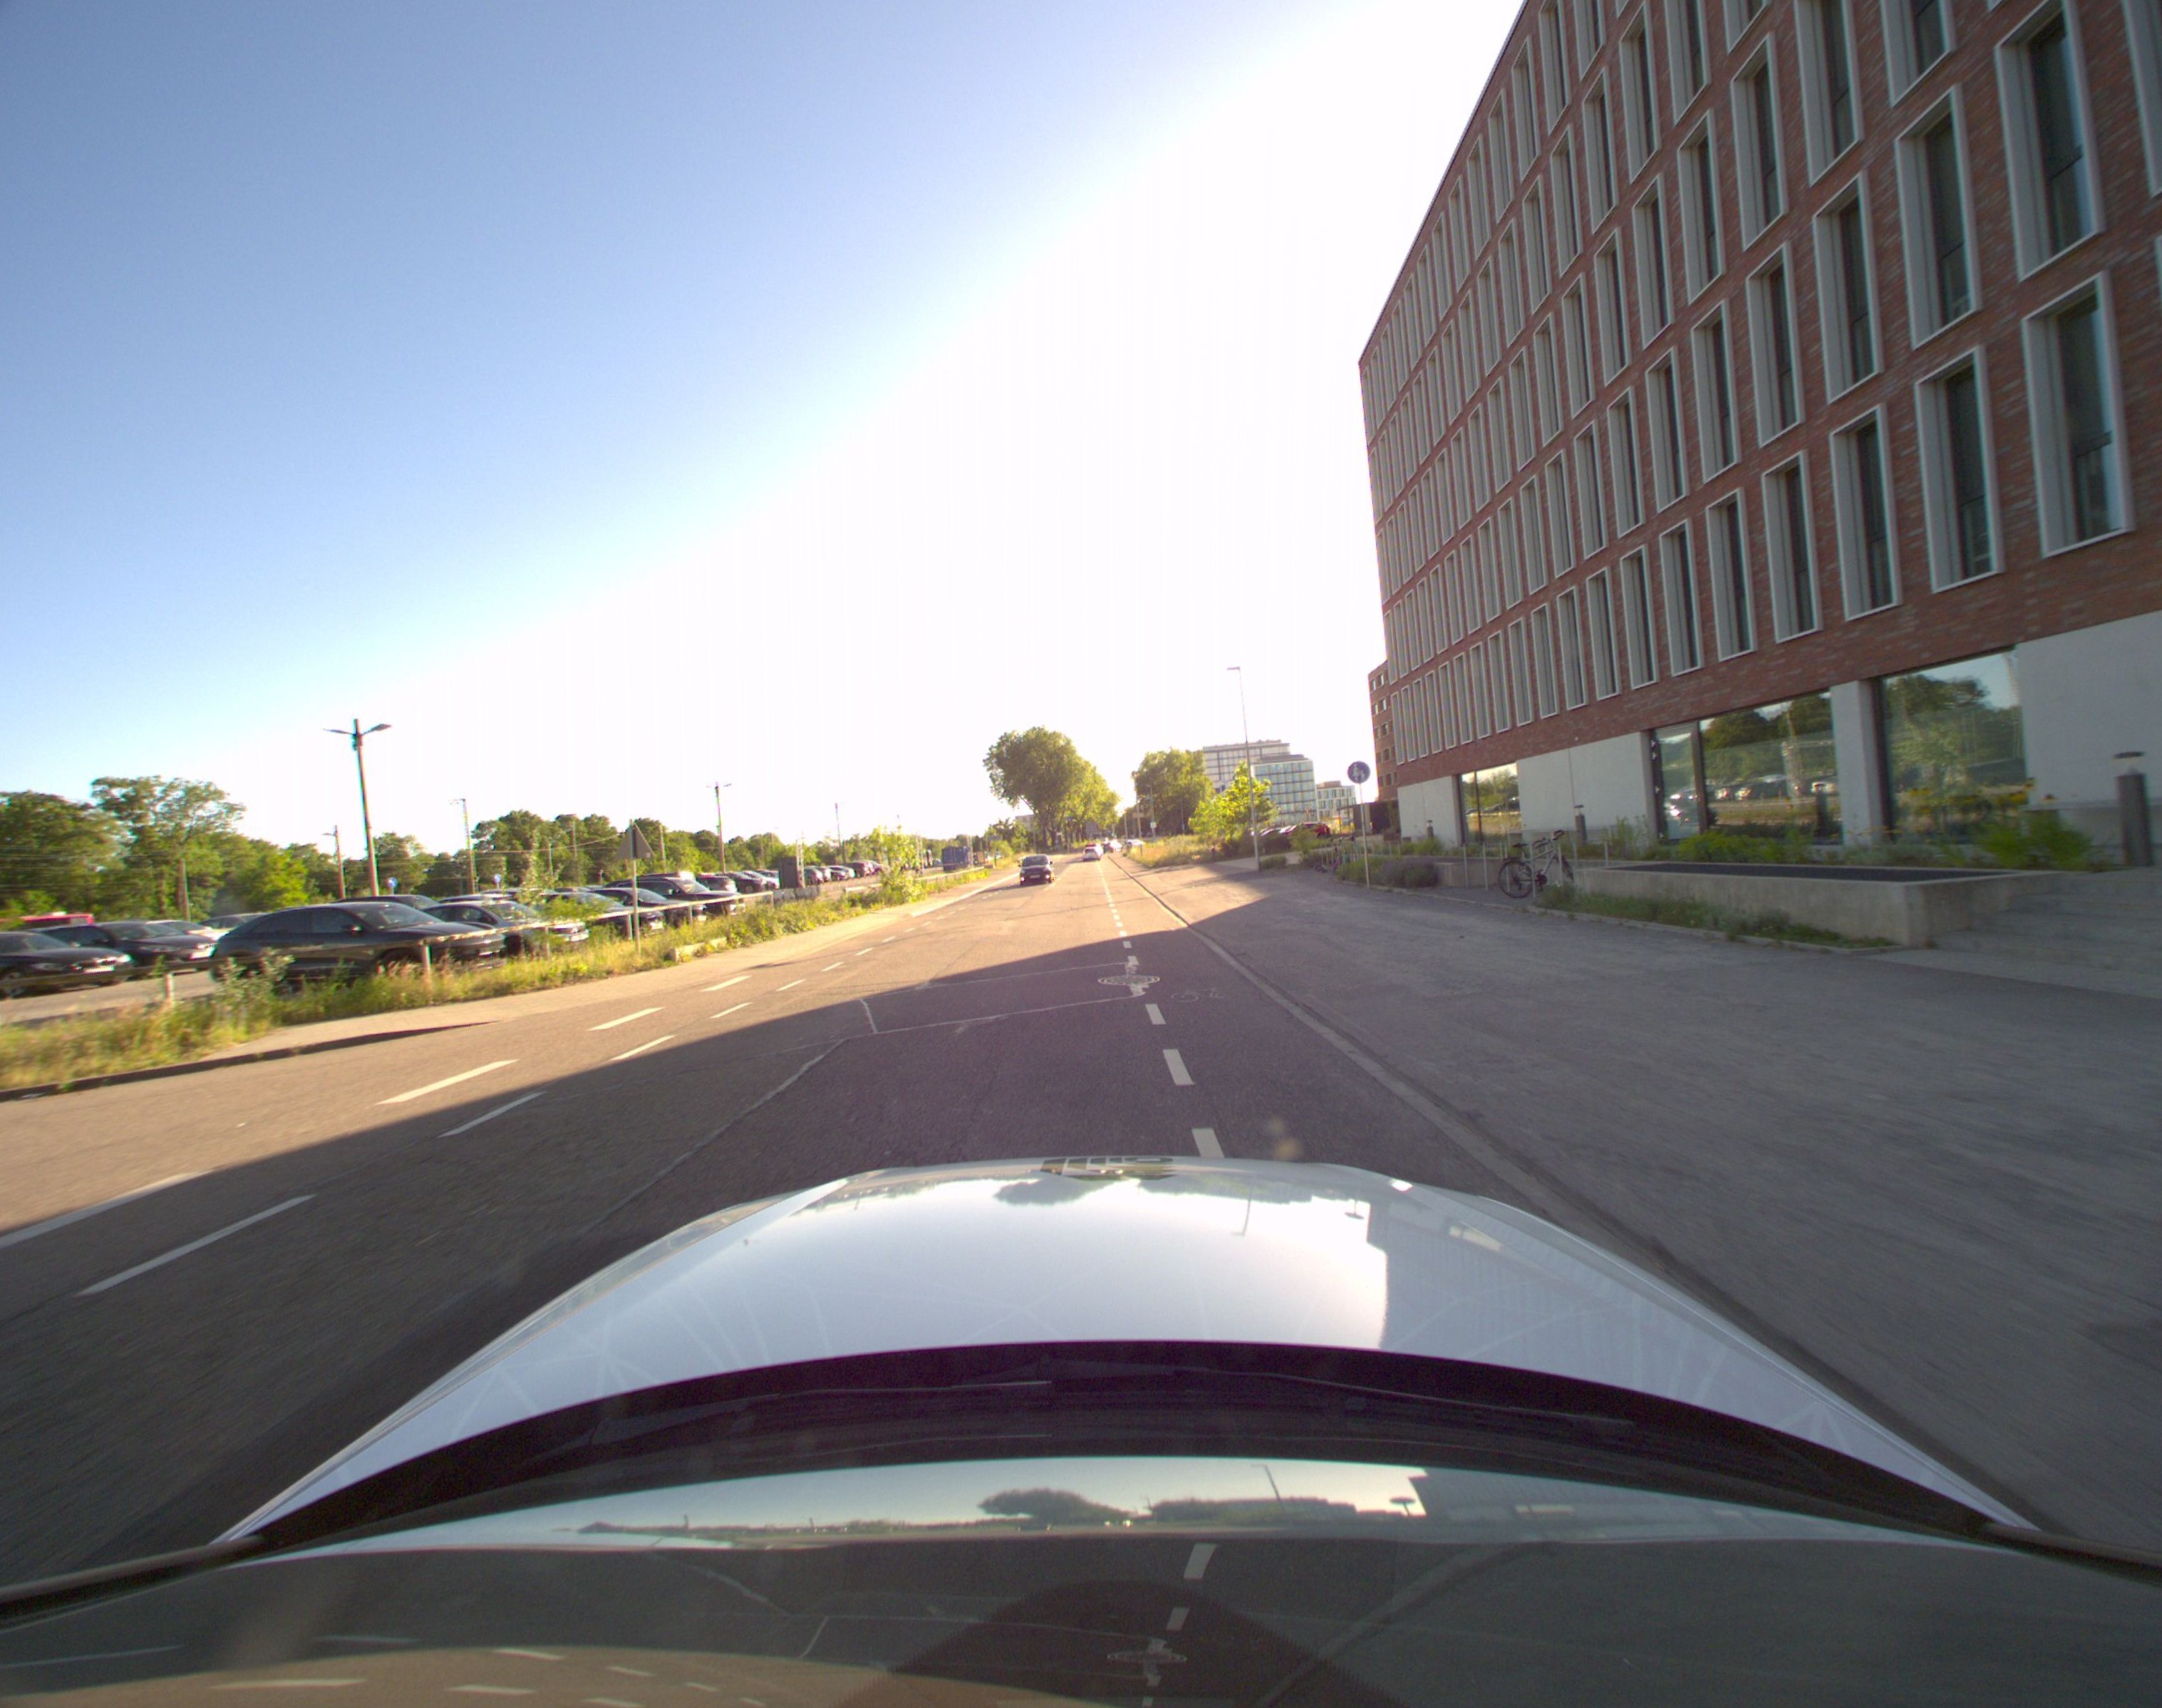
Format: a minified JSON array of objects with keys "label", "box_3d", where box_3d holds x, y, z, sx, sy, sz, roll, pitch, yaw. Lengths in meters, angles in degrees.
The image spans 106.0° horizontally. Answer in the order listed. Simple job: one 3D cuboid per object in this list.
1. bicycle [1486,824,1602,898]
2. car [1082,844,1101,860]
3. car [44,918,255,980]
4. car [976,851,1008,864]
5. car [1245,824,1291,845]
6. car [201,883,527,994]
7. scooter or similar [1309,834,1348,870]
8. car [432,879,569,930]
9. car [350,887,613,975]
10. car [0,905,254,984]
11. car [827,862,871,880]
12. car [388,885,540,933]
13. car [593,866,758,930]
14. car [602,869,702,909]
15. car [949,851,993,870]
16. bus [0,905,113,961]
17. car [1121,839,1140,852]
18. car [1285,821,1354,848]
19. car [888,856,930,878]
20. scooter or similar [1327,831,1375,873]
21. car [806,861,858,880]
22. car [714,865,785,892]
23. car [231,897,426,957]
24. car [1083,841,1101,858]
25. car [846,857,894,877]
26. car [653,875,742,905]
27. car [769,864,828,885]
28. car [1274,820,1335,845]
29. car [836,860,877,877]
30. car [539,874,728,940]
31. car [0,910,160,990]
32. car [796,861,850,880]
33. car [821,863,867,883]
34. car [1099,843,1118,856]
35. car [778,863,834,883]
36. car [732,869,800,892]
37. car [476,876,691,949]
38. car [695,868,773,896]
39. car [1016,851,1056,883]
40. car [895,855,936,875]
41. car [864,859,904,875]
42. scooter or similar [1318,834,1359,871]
[{"label":"bicycle","box_3d":[8.621,0.121,15.165,1.929,1.169,0.374,-6,0,-6]},{"label":"car","box_3d":[1.131,-0.231,84.264,1.783,1.420,4.002,-4,1,2]},{"label":"car","box_3d":[-29.817,3.006,26.199,4.151,1.397,2.046,-5,0,-3]},{"label":"car","box_3d":[-12.945,0.434,118.530,4.411,1.557,1.878,-4,1,0]},{"label":"car","box_3d":[17.615,-1.817,76.875,3.969,1.705,1.854,-4,1,4]},{"label":"car","box_3d":[-13.675,1.575,15.756,4.412,1.580,2.049,-5,0,2]},{"label":"scooter or similar","box_3d":[9.089,-0.076,29.889,1.237,1.195,0.341,-5,0,5]},{"label":"car","box_3d":[-24.163,2.089,34.019,4.150,1.662,1.965,-5,0,-2]},{"label":"car","box_3d":[-13.589,1.711,18.662,4.412,1.461,2.049,-5,0,2]},{"label":"car","box_3d":[-24.618,2.286,20.911,4.393,1.465,2.046,-5,0,-3]},{"label":"car","box_3d":[-23.743,1.736,83.515,3.871,1.603,1.878,-4,1,0]},{"label":"car","box_3d":[-23.918,2.107,31.708,4.151,1.397,2.046,-5,0,-3]},{"label":"car","box_3d":[-13.570,1.439,27.466,4.412,1.670,2.049,-5,0,2]},{"label":"car","box_3d":[-24.229,1.958,46.101,4.560,1.805,1.858,-4,1,1]},{"label":"car","box_3d":[-12.938,0.784,96.087,4.830,1.834,2.000,-4,1,0]},{"label":"bus","box_3d":[-52.065,3.963,39.787,2.529,2.348,5.592,-5,0,2]},{"label":"car","box_3d":[7.328,-1.200,119.482,2.149,1.684,4.013,-4,-1,12]},{"label":"car","box_3d":[16.311,-1.329,55.911,4.165,1.580,1.854,-4,1,4]},{"label":"car","box_3d":[-23.009,1.682,109.348,4.911,2.459,2.319,-5,0,0]},{"label":"scooter or similar","box_3d":[8.897,-0.069,26.856,1.334,1.245,0.424,-5,0,5]},{"label":"car","box_3d":[-23.868,1.567,78.089,4.308,1.376,1.878,-4,1,0]},{"label":"car","box_3d":[-24.155,1.770,59.386,4.306,1.523,1.879,-4,1,1]},{"label":"car","box_3d":[-24.089,2.302,26.222,4.151,1.397,2.046,-5,0,-3]},{"label":"car","box_3d":[1.230,-0.533,90.498,1.812,1.768,4.632,-4,1,2]},{"label":"car","box_3d":[-23.490,1.439,90.773,4.559,1.741,2.061,-4,1,4]},{"label":"car","box_3d":[-24.128,2.268,51.354,4.556,1.480,1.993,-4,1,3]},{"label":"car","box_3d":[-24.248,1.771,69.915,4.308,1.419,1.878,-4,1,0]},{"label":"car","box_3d":[17.225,-1.645,62.834,4.166,1.580,1.853,-4,-2,4]},{"label":"car","box_3d":[-24.216,1.545,87.916,3.871,1.520,1.878,-4,1,0]},{"label":"car","box_3d":[-13.344,1.558,24.491,4.412,1.461,2.049,-5,0,2]},{"label":"car","box_3d":[-24.165,2.252,18.266,4.393,1.465,2.046,-5,0,-3]},{"label":"car","box_3d":[-23.832,1.539,75.294,4.308,1.376,1.878,-4,1,0]},{"label":"car","box_3d":[-23.531,1.860,80.893,3.871,1.603,1.878,-4,1,0]},{"label":"car","box_3d":[3.860,-0.624,113.687,2.153,1.684,4.006,-4,-1,5]},{"label":"car","box_3d":[-24.552,1.683,72.792,4.308,1.419,1.878,-4,1,0]},{"label":"car","box_3d":[-23.947,2.016,62.004,4.306,1.393,1.879,-4,1,1]},{"label":"car","box_3d":[-13.240,1.527,21.901,4.412,1.461,2.049,-5,0,2]},{"label":"car","box_3d":[-24.264,1.957,57.006,4.560,1.585,1.858,-4,1,1]},{"label":"car","box_3d":[-2.361,0.661,43.505,1.648,1.503,4.002,-6,0,2]},{"label":"car","box_3d":[-22.752,1.496,112.030,5.080,2.459,2.319,-4,1,0]},{"label":"car","box_3d":[-23.932,1.618,99.210,4.308,1.618,1.878,-4,1,0]},{"label":"scooter or similar","box_3d":[8.963,-0.059,28.372,1.237,1.155,0.366,-5,0,5]}]
